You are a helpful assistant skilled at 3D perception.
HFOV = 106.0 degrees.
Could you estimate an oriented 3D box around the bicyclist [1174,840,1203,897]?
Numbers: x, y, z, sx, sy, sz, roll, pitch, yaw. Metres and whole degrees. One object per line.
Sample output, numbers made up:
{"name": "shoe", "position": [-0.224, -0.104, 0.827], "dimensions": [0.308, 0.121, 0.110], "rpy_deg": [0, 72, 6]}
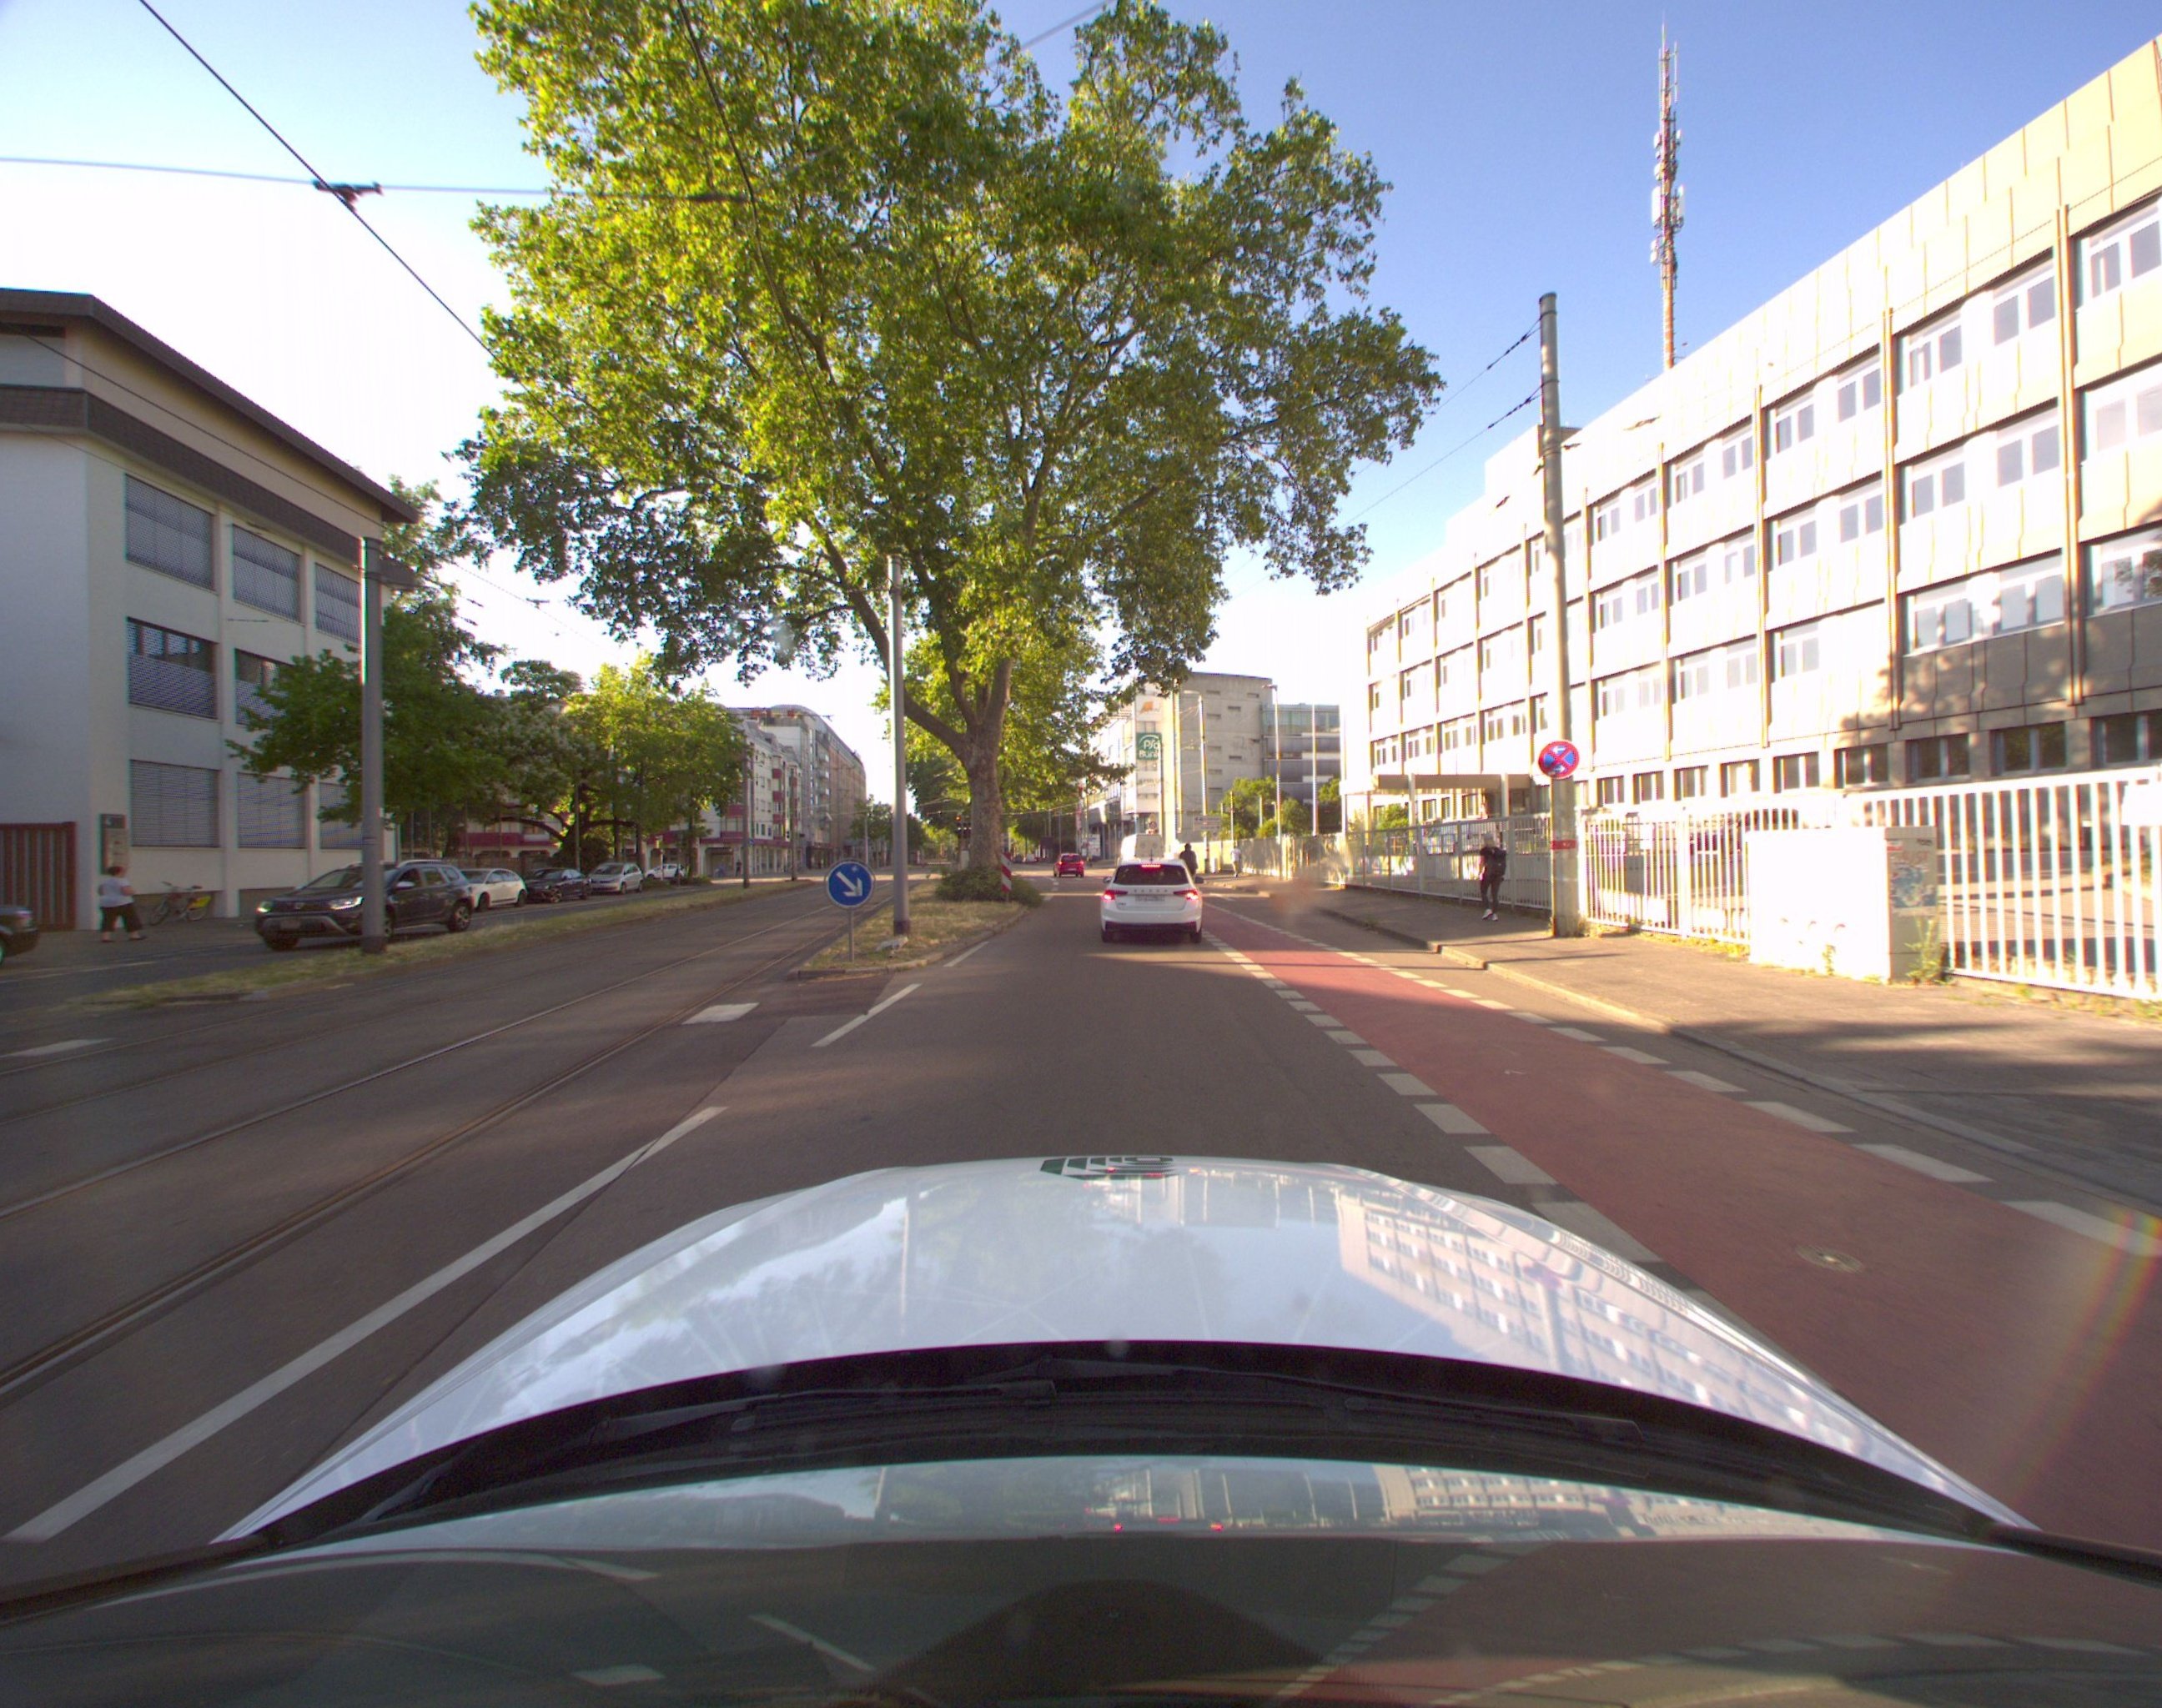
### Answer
{"name": "bicyclist", "position": [3.193, 0.435, 24.233], "dimensions": [0.741, 1.669, 0.745], "rpy_deg": [0, 0, 0]}

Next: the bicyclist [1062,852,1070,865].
{"name": "bicyclist", "position": [-1.653, 0.457, 88.671], "dimensions": [0.610, 1.388, 0.628], "rpy_deg": [-2, 0, -43]}

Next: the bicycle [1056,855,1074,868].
{"name": "bicycle", "position": [-1.702, 0.807, 88.621], "dimensions": [2.006, 1.379, 0.639], "rpy_deg": [-2, 0, -43]}

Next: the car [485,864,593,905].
{"name": "car", "position": [-22.093, 1.178, 33.469], "dimensions": [1.994, 1.476, 4.633], "rpy_deg": [-1, 0, -11]}

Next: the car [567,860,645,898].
{"name": "car", "position": [-23.469, 1.185, 40.422], "dimensions": [1.994, 1.689, 4.162], "rpy_deg": [-1, 0, -11]}

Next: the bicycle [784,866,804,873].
{"name": "bicycle", "position": [-32.811, 1.794, 93.098], "dimensions": [2.171, 0.787, 0.490], "rpy_deg": [-2, 0, -12]}

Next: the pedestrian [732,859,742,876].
{"name": "pedestrian", "position": [-34.171, 1.374, 80.872], "dimensions": [0.709, 1.662, 1.029], "rpy_deg": [-2, 0, -13]}

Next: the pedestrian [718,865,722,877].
{"name": "pedestrian", "position": [-36.357, 1.671, 81.995], "dimensions": [0.304, 1.214, 0.317], "rpy_deg": [-2, 0, -14]}

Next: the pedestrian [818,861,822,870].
{"name": "pedestrian", "position": [-40.609, 1.792, 126.495], "dimensions": [0.511, 1.459, 0.526], "rpy_deg": [-2, 0, -12]}

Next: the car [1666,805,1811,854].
{"name": "car", "position": [25.099, -0.920, 31.153], "dimensions": [4.251, 1.718, 1.987], "rpy_deg": [-1, 0, -10]}

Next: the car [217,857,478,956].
{"name": "car", "position": [-14.703, 0.942, 16.738], "dimensions": [1.994, 1.689, 4.294], "rpy_deg": [-1, 0, -11]}

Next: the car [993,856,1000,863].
{"name": "car", "position": [-22.046, 1.439, 212.338], "dimensions": [1.657, 1.607, 3.519], "rpy_deg": [-2, 0, -9]}

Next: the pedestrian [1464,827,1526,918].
{"name": "pedestrian", "position": [7.967, 0.351, 15.708], "dimensions": [0.693, 1.684, 0.931], "rpy_deg": [-1, 0, 1]}

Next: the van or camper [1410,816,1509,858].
{"name": "van or camper", "position": [18.643, -0.803, 40.450], "dimensions": [1.980, 1.908, 4.983], "rpy_deg": [-2, 0, -9]}

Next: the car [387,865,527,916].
{"name": "car", "position": [-21.228, 1.182, 27.962], "dimensions": [1.994, 1.470, 4.389], "rpy_deg": [-1, 0, -11]}

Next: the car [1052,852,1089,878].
{"name": "car", "position": [-0.722, 0.651, 51.034], "dimensions": [1.838, 1.489, 3.706], "rpy_deg": [-1, 0, -8]}

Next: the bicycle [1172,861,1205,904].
{"name": "bicycle", "position": [3.198, 0.825, 24.448], "dimensions": [0.741, 1.224, 2.156], "rpy_deg": [0, 0, 1]}

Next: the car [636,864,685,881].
{"name": "car", "position": [-40.931, 1.755, 79.443], "dimensions": [4.001, 1.464, 1.789], "rpy_deg": [-2, 0, -21]}

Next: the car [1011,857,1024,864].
{"name": "car", "position": [-14.840, 1.465, 189.705], "dimensions": [2.479, 1.528, 4.416], "rpy_deg": [-2, 0, -10]}

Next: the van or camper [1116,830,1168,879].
{"name": "van or camper", "position": [3.652, 0.040, 50.049], "dimensions": [2.265, 2.733, 6.336], "rpy_deg": [1, 0, -4]}

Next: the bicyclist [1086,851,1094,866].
{"name": "bicyclist", "position": [0.989, 0.539, 93.342], "dimensions": [0.786, 1.635, 0.636], "rpy_deg": [-1, 0, -13]}

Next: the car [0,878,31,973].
{"name": "car", "position": [-18.121, 1.182, 11.084], "dimensions": [1.994, 1.513, 4.709], "rpy_deg": [-1, 0, -10]}

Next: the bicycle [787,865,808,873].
{"name": "bicycle", "position": [-32.870, 1.775, 94.459], "dimensions": [2.171, 0.824, 0.526], "rpy_deg": [-2, 0, -12]}

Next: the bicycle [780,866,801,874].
{"name": "bicycle", "position": [-32.952, 1.797, 92.307], "dimensions": [2.171, 0.787, 0.638], "rpy_deg": [-2, 0, -12]}

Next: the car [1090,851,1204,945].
{"name": "car", "position": [1.347, 0.705, 15.031], "dimensions": [1.791, 1.501, 3.991], "rpy_deg": [0, 0, 9]}

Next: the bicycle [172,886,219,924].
{"name": "bicycle", "position": [-24.621, 1.403, 22.655], "dimensions": [0.303, 1.002, 1.015], "rpy_deg": [-2, 0, -10]}

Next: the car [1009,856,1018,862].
{"name": "car", "position": [-17.166, 1.215, 206.370], "dimensions": [1.886, 1.528, 4.414], "rpy_deg": [-2, 0, -11]}

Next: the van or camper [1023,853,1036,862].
{"name": "van or camper", "position": [-11.181, 0.792, 176.169], "dimensions": [2.146, 1.750, 4.414], "rpy_deg": [-2, 0, -11]}

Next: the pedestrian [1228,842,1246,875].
{"name": "pedestrian", "position": [8.466, 0.263, 44.240], "dimensions": [0.784, 1.748, 0.771], "rpy_deg": [-2, 0, -2]}

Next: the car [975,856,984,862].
{"name": "car", "position": [-26.615, 1.292, 213.926], "dimensions": [2.060, 1.654, 3.476], "rpy_deg": [-2, 0, -13]}

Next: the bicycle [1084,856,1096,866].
{"name": "bicycle", "position": [1.013, 0.790, 93.294], "dimensions": [0.793, 1.161, 2.489], "rpy_deg": [-1, 0, -13]}

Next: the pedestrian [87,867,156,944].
{"name": "pedestrian", "position": [-20.882, 1.101, 17.740], "dimensions": [0.634, 1.620, 0.730], "rpy_deg": [0, -1, -7]}
